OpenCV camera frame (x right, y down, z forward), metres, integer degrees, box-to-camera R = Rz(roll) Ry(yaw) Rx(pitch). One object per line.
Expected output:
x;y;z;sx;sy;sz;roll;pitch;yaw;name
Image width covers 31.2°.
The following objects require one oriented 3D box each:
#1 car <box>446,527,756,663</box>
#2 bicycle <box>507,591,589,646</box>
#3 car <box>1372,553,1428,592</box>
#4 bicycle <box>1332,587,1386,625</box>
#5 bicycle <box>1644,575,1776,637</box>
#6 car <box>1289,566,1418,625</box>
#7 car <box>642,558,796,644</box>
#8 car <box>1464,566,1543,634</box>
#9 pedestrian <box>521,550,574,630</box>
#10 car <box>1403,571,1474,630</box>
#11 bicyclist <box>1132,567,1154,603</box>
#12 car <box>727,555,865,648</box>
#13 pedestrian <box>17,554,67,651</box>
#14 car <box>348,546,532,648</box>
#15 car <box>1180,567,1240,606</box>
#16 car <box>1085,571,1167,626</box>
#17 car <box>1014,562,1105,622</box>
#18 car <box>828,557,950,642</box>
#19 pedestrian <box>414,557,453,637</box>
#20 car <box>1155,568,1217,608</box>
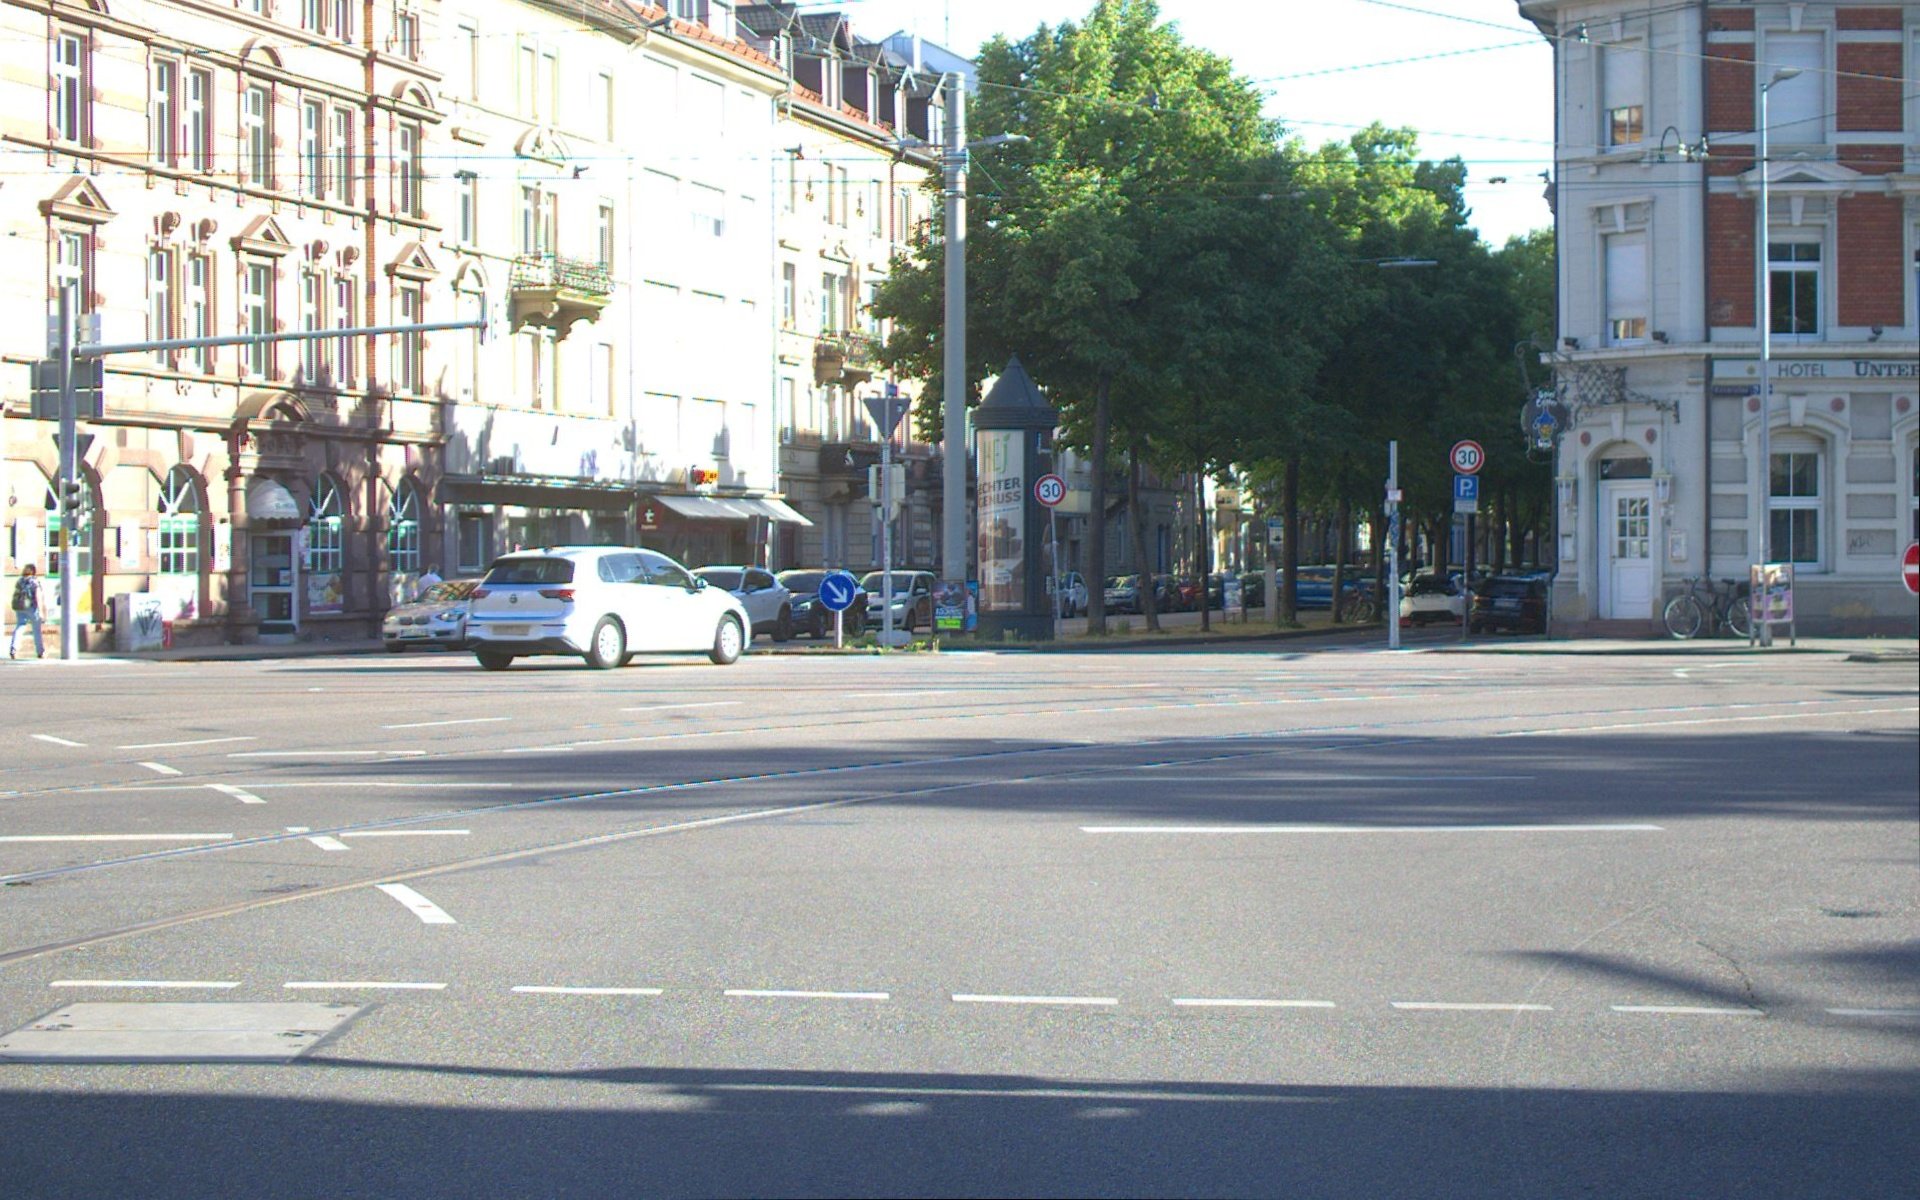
-4.232;-0.072;41.122;1.774;1.525;3.994;1;1;27;car
-7.814;0.337;65.296;0.763;1.004;2.395;1;1;13;bicycle
17.236;-1.070;134.568;1.560;1.508;3.653;1;1;17;car
11.506;0.168;99.080;0.626;1.081;1.703;1;1;-31;bicycle
12.453;0.093;57.102;2.049;0.994;0.630;1;0;3;bicycle
13.162;-0.165;114.983;3.990;1.897;1.998;1;0;16;car
-4.684;-0.002;67.343;1.994;1.612;3.998;1;1;11;car
13.069;-0.011;82.602;1.692;1.559;3.839;1;1;11;car
-7.827;-0.190;65.217;0.821;1.507;0.598;1;0;15;pedestrian
13.150;-0.010;94.377;1.692;1.559;3.839;1;1;11;car
6.345;-0.517;118.990;0.626;1.261;0.558;1;0;16;bicyclist
-3.480;0.018;73.632;1.994;1.897;3.998;1;1;11;car
-15.606;0.036;58.462;0.544;1.626;0.706;1;0;13;pedestrian
-10.121;-0.076;67.191;1.995;1.897;3.997;1;1;17;car
9.925;-0.537;136.271;1.560;1.508;3.653;1;1;17;car
5.924;-0.069;122.441;1.995;1.897;3.997;1;1;17;car
3.282;-0.280;112.712;1.995;1.897;3.997;1;1;17;car
-1.612;-0.019;79.862;1.994;1.897;3.998;1;1;11;car
-10.904;-0.063;71.187;0.544;1.626;0.706;1;0;13;pedestrian
8.672;-0.468;131.761;1.560;1.508;3.653;1;1;17;car
